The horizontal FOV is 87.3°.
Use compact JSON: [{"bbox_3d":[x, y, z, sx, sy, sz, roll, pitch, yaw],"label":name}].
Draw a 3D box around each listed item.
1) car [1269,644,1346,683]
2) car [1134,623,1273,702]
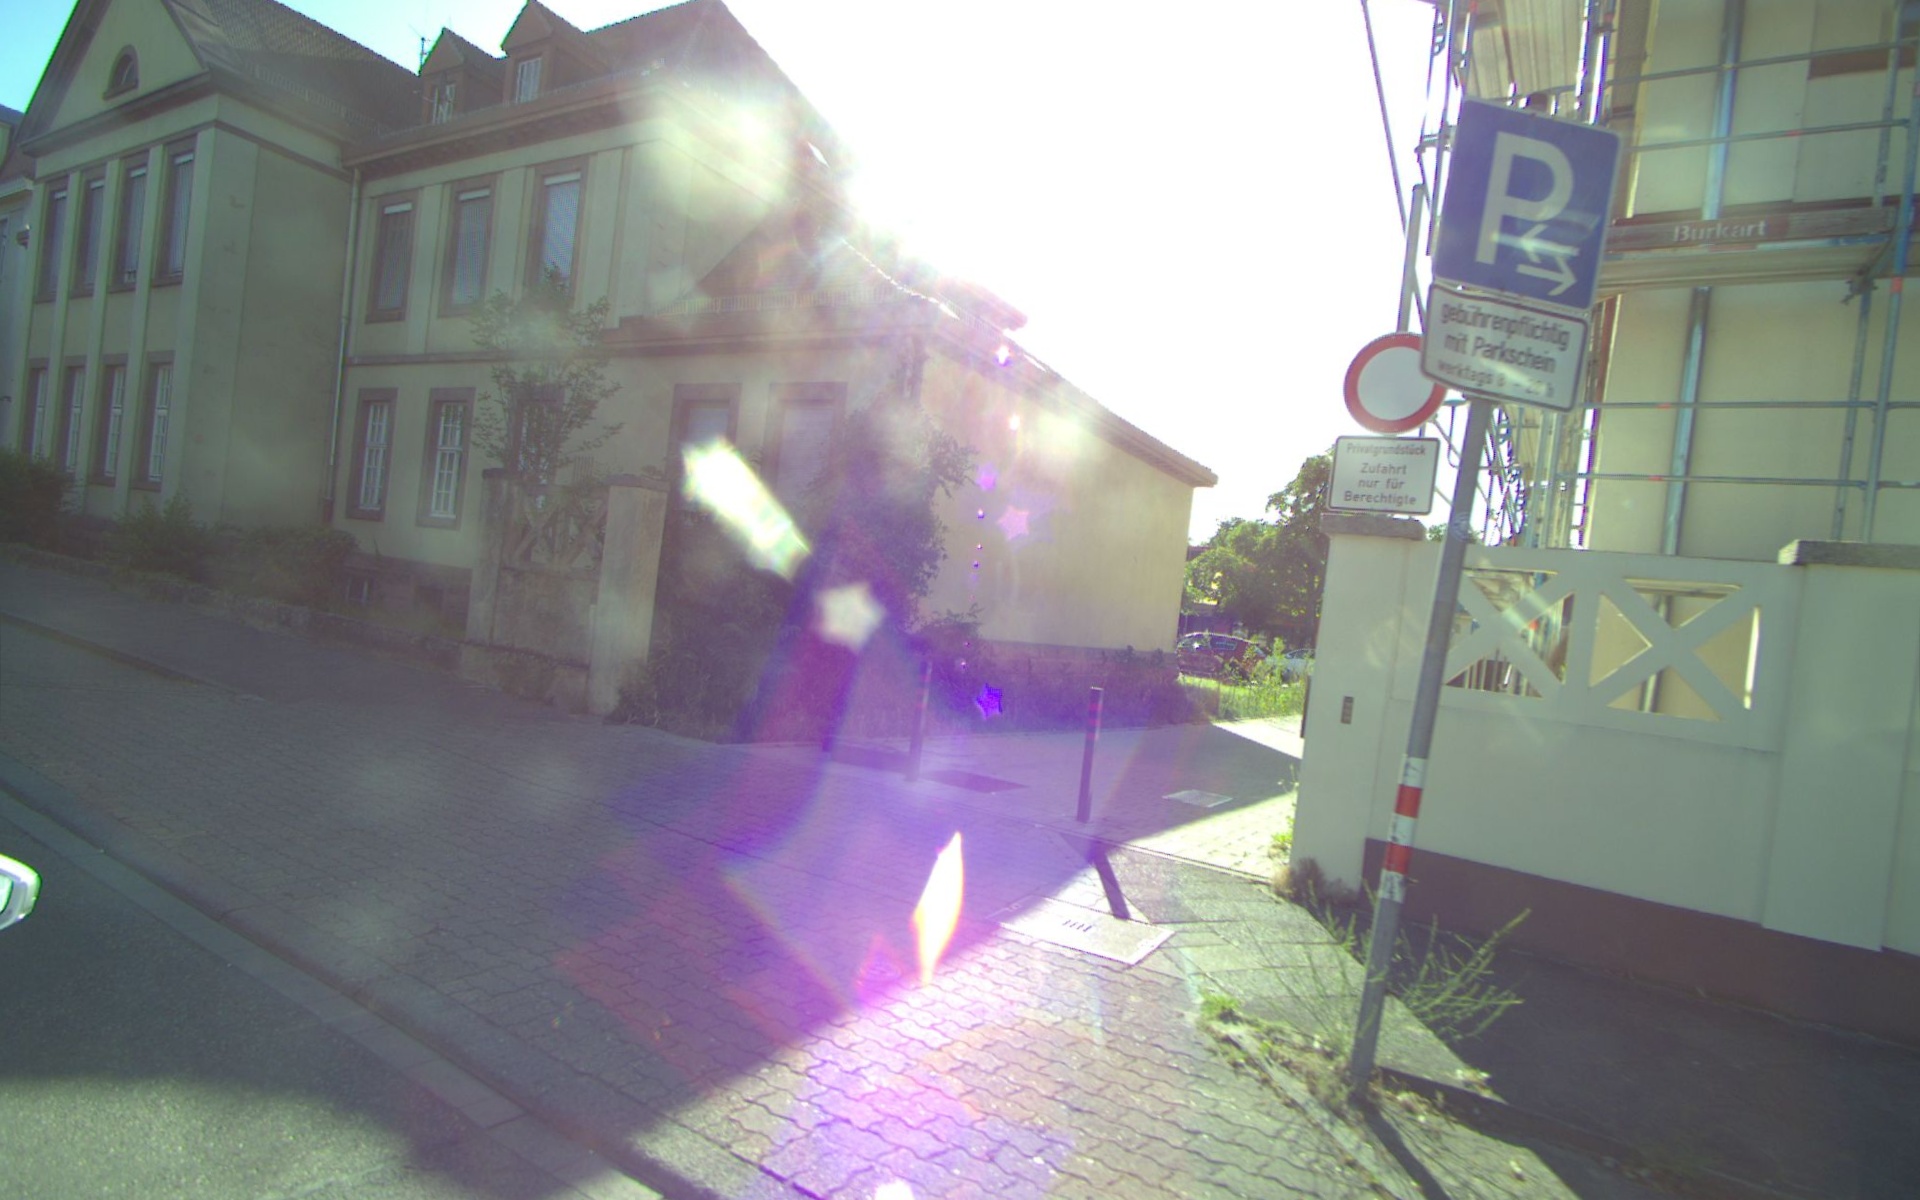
[{"bbox_3d":[16.978,3.090,49.122,3.186,1.441,1.505,7,-2,31],"label":"car"},{"bbox_3d":[8.178,2.086,33.833,3.933,2.037,1.998,7,-2,31],"label":"car"}]
